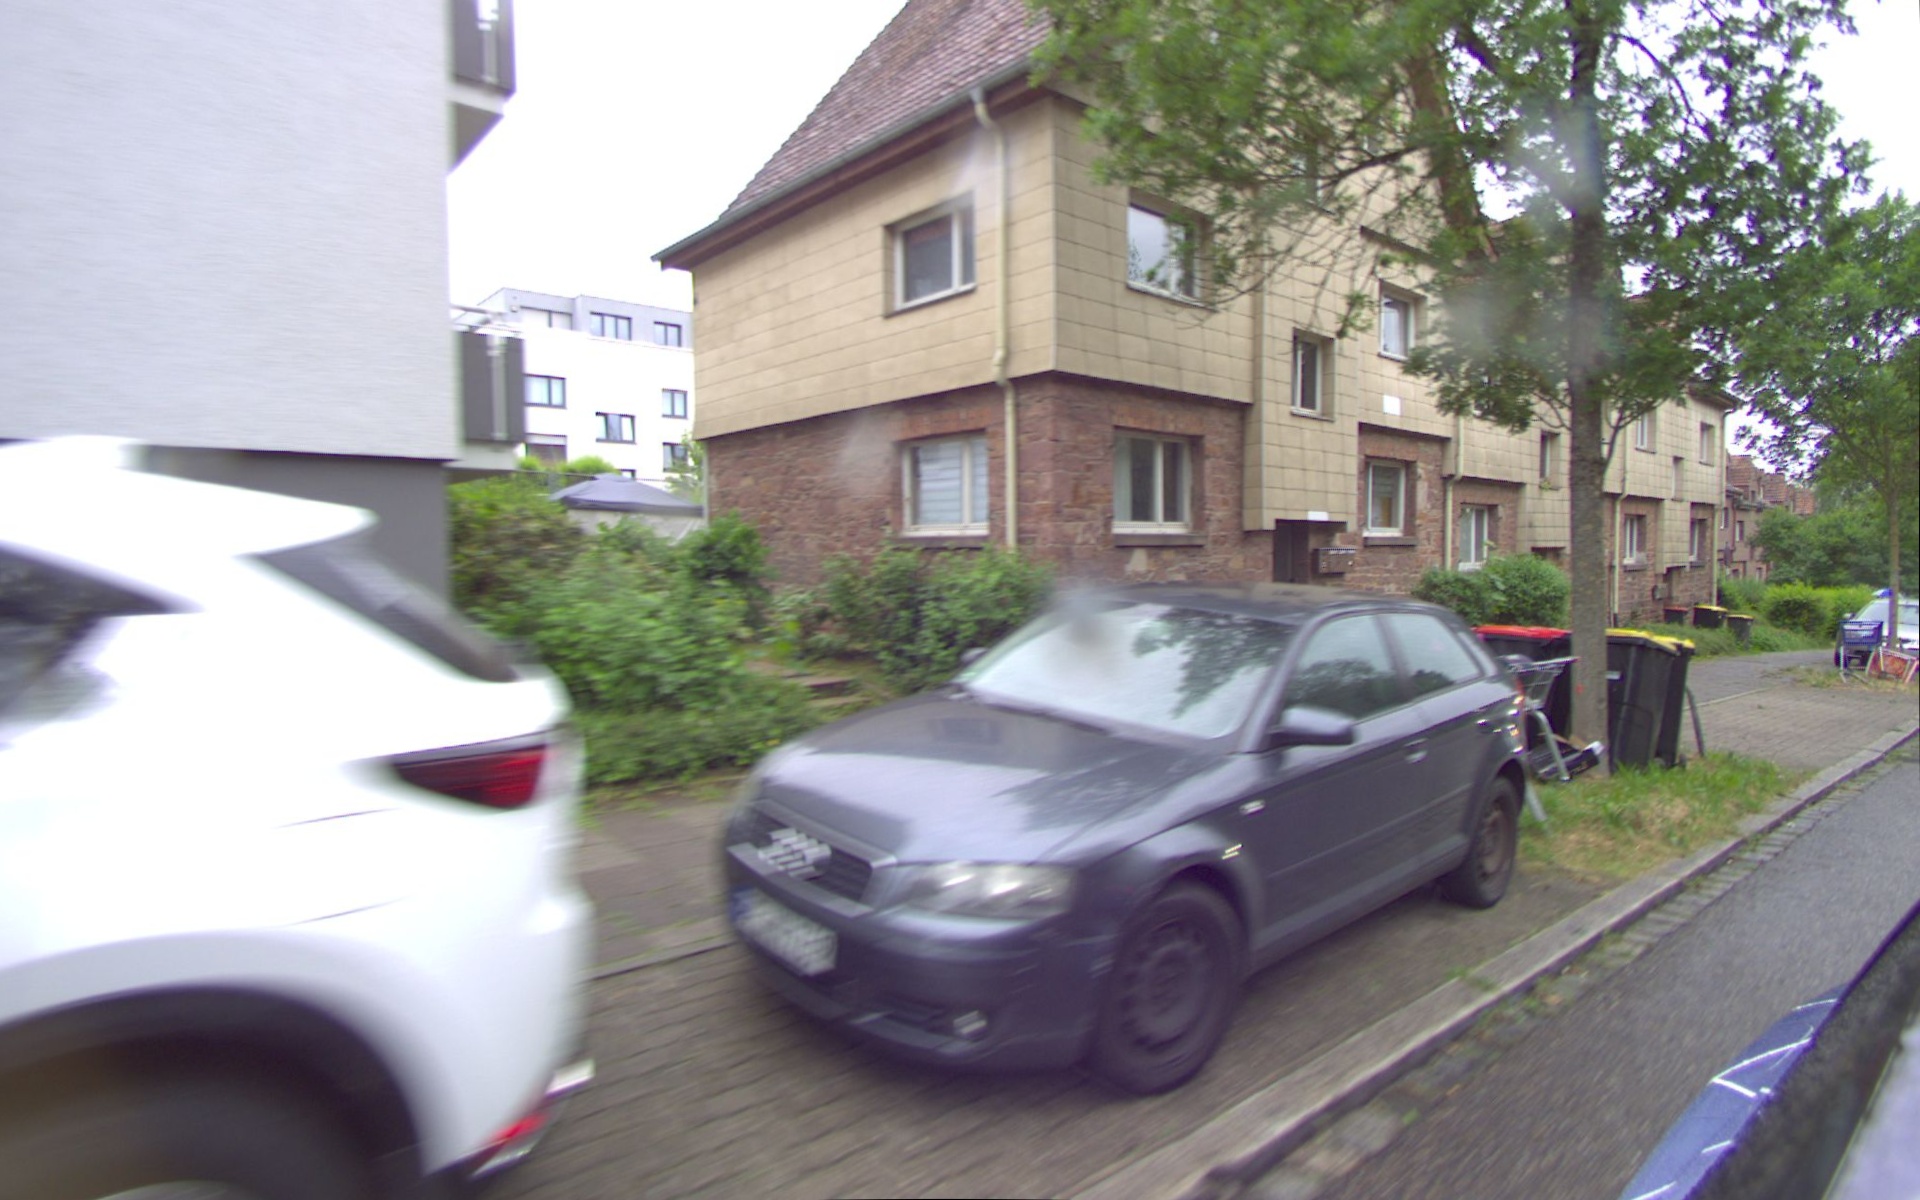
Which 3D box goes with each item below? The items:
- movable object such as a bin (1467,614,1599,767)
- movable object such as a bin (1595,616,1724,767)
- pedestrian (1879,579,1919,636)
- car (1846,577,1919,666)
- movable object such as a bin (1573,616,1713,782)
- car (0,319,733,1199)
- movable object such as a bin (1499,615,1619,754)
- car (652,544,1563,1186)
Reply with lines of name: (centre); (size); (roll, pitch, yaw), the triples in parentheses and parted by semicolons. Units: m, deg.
movable object such as a bin: (4.477, 0.671, 7.903); (0.809, 1.063, 0.620); (1, 3, -43)
movable object such as a bin: (5.541, 0.690, 8.013); (0.809, 1.063, 0.620); (1, 3, -43)
pedestrian: (29.349, 0.229, 31.557); (0.695, 1.700, 0.655); (2, 1, -11)
car: (19.975, 0.474, 20.906); (4.559, 1.603, 1.707); (1, 4, -40)
movable object such as a bin: (4.955, 0.678, 7.338); (0.809, 1.063, 0.620); (1, 3, -43)
car: (-2.748, 0.490, 1.233); (4.459, 1.794, 1.828); (0, 2, -40)
movable object such as a bin: (5.085, 0.684, 8.588); (0.809, 1.063, 0.620); (1, 3, -43)
car: (0.931, 0.566, 4.242); (3.930, 1.466, 1.644); (0, 2, -42)
